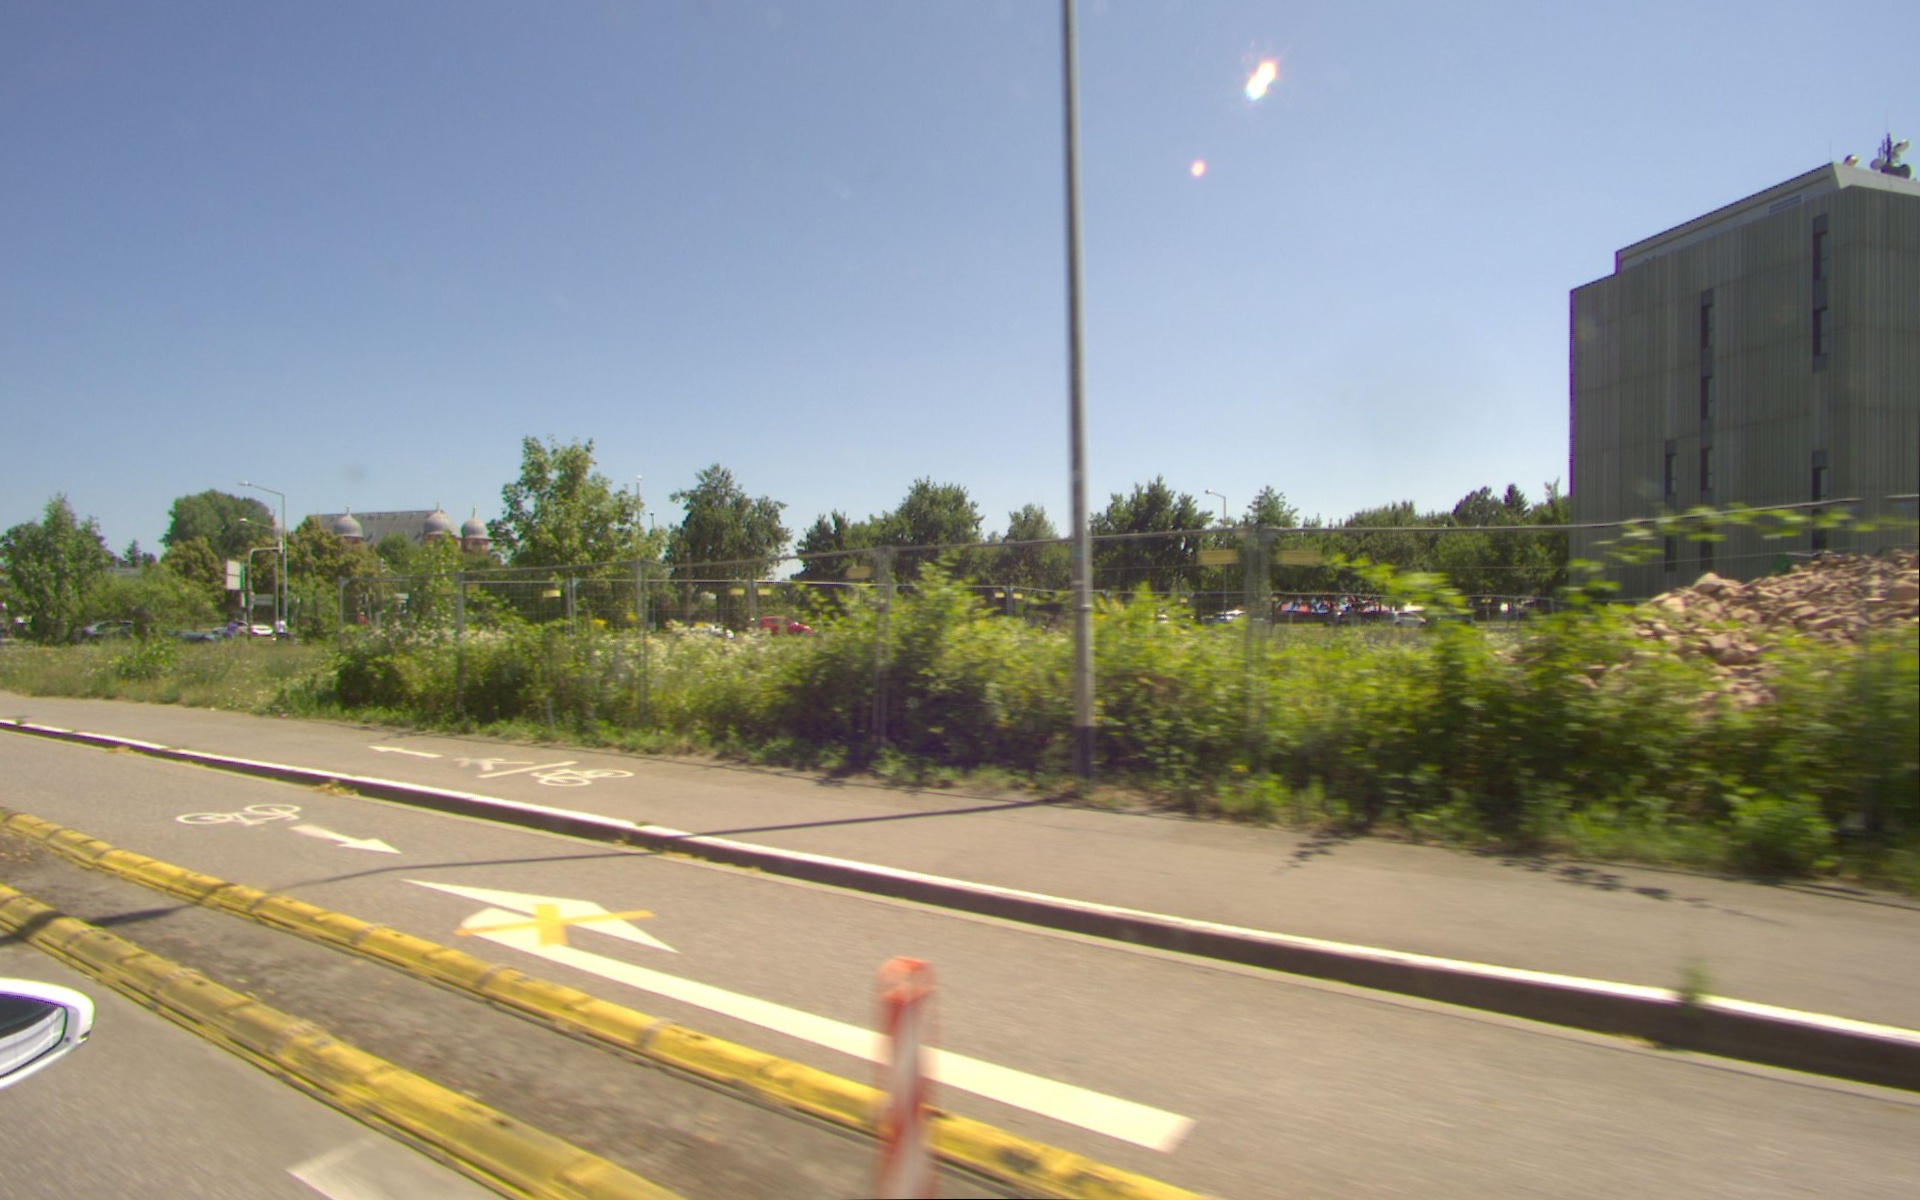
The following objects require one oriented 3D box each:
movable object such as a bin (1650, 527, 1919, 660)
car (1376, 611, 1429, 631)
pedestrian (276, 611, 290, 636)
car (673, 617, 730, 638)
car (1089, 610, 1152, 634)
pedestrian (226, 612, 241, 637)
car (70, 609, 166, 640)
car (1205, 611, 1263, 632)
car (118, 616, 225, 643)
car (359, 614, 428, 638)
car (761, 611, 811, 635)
[{"bbox_3d":[25.045,-0.128,26.964,10.316,3.302,4.931,-1,-1,31],"label":"movable object such as a bin"},{"bbox_3d":[36.006,1.710,81.488,3.575,1.639,1.840,0,0,-12],"label":"car"},{"bbox_3d":[-35.755,1.242,52.874,0.538,1.328,0.602,0,0,-26],"label":"pedestrian"},{"bbox_3d":[-16.445,1.734,63.675,3.407,1.335,1.320,0,0,-17],"label":"car"},{"bbox_3d":[11.411,1.556,71.262,3.983,1.639,1.840,0,0,-12],"label":"car"},{"bbox_3d":[-38.150,1.289,52.575,0.597,1.328,0.542,0,0,-37],"label":"pedestrian"},{"bbox_3d":[-48.511,1.384,57.750,1.549,1.766,4.053,0,-1,41],"label":"car"},{"bbox_3d":[21.191,1.663,77.514,3.926,1.605,1.882,0,-1,-12],"label":"car"},{"bbox_3d":[-41.955,1.548,53.342,4.409,1.375,1.523,0,-1,-43],"label":"car"},{"bbox_3d":[-33.248,1.497,58.832,3.269,1.375,1.395,0,0,-17],"label":"car"},{"bbox_3d":[-12.379,1.604,71.123,3.483,1.639,1.791,0,0,-12],"label":"car"}]
